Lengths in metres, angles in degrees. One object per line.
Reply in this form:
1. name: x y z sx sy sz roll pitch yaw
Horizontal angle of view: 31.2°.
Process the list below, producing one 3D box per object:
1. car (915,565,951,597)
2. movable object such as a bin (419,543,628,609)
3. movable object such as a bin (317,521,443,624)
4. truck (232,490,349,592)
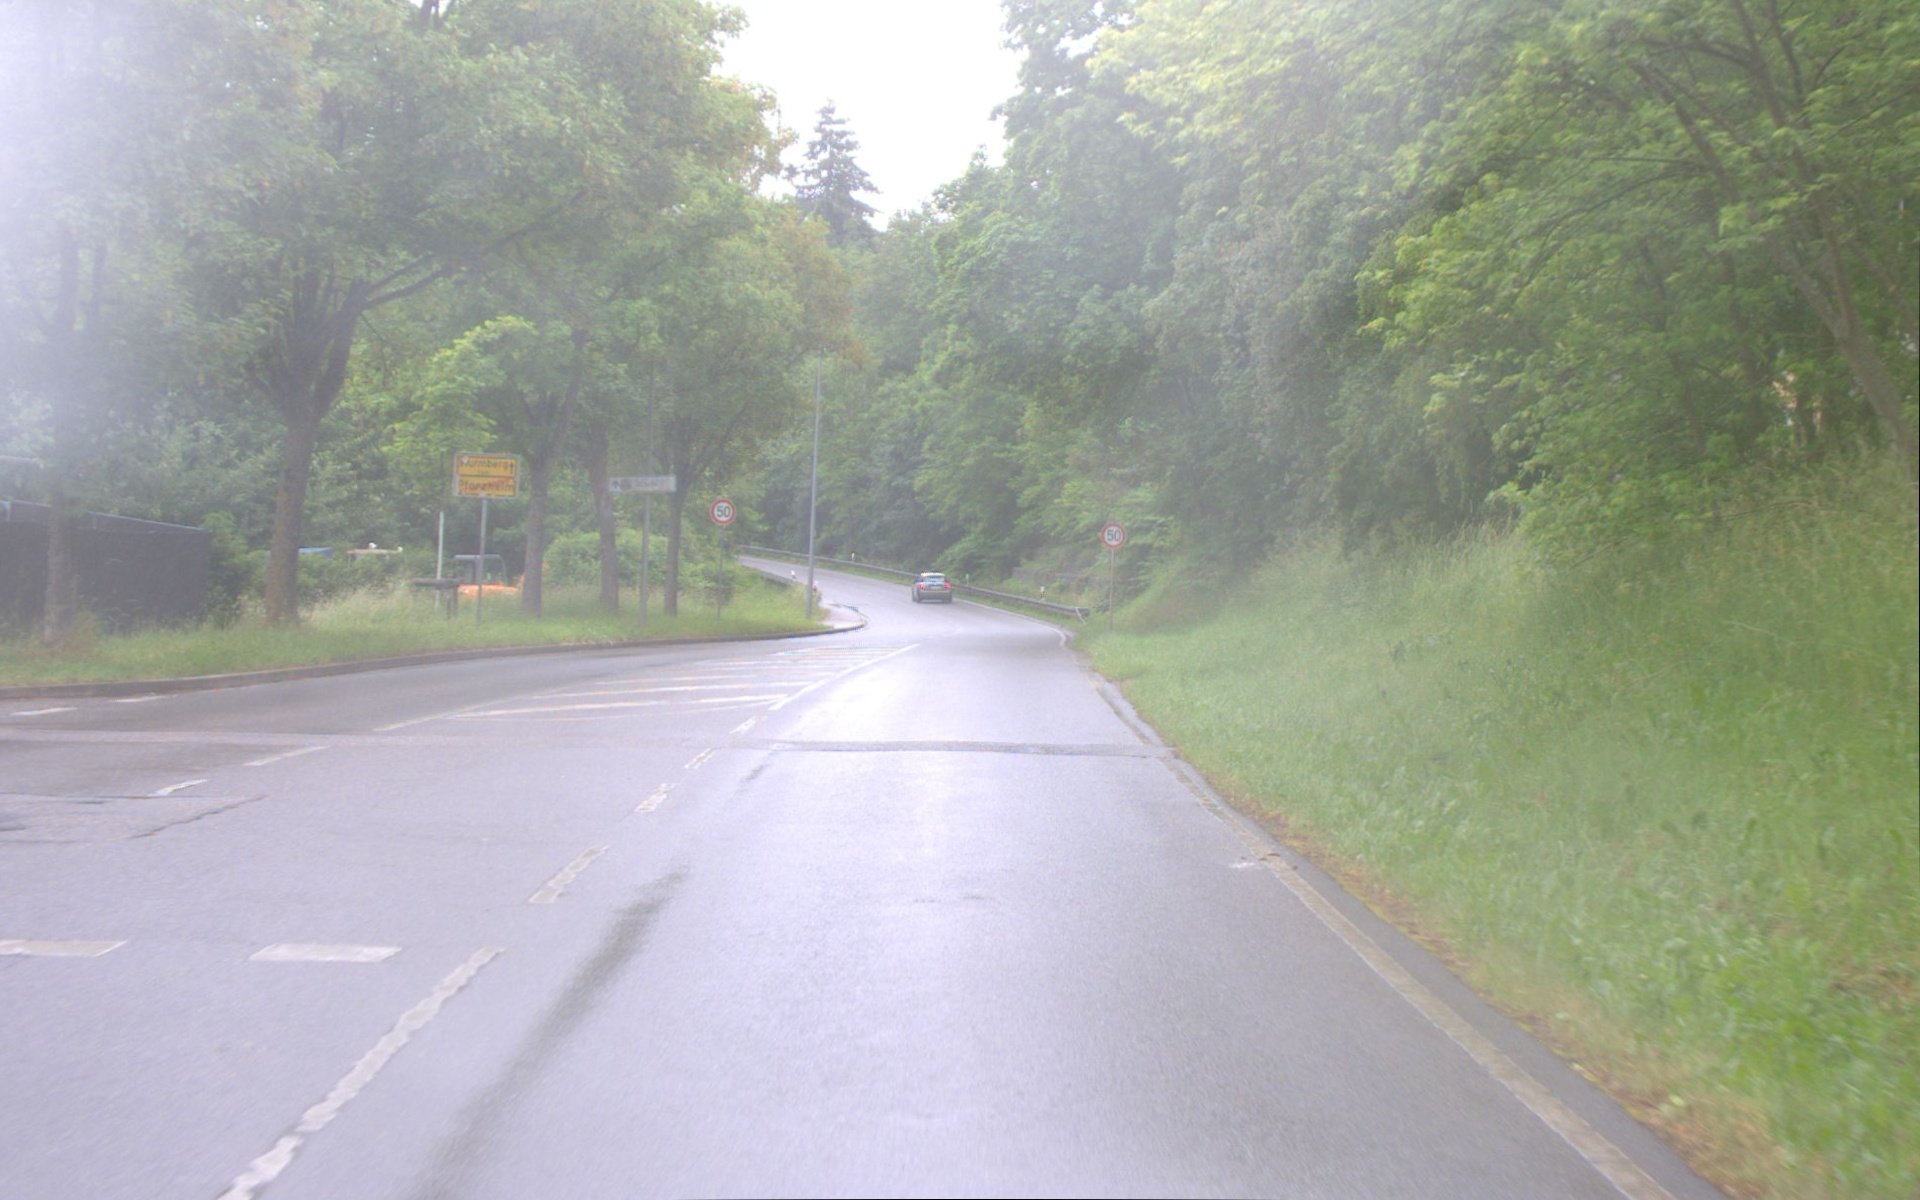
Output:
1. car: -1.336 -0.948 169.548 1.736 1.505 4.000 0 1 -1
2. movable object such as a bin: -13.470 -0.731 106.802 1.850 1.901 7.893 1 0 32
3. movable object such as a bin: -16.832 -0.766 99.939 1.995 2.851 3.997 2 0 16
4. truck: -17.230 -1.528 88.670 1.993 2.449 5.223 3 1 -1
